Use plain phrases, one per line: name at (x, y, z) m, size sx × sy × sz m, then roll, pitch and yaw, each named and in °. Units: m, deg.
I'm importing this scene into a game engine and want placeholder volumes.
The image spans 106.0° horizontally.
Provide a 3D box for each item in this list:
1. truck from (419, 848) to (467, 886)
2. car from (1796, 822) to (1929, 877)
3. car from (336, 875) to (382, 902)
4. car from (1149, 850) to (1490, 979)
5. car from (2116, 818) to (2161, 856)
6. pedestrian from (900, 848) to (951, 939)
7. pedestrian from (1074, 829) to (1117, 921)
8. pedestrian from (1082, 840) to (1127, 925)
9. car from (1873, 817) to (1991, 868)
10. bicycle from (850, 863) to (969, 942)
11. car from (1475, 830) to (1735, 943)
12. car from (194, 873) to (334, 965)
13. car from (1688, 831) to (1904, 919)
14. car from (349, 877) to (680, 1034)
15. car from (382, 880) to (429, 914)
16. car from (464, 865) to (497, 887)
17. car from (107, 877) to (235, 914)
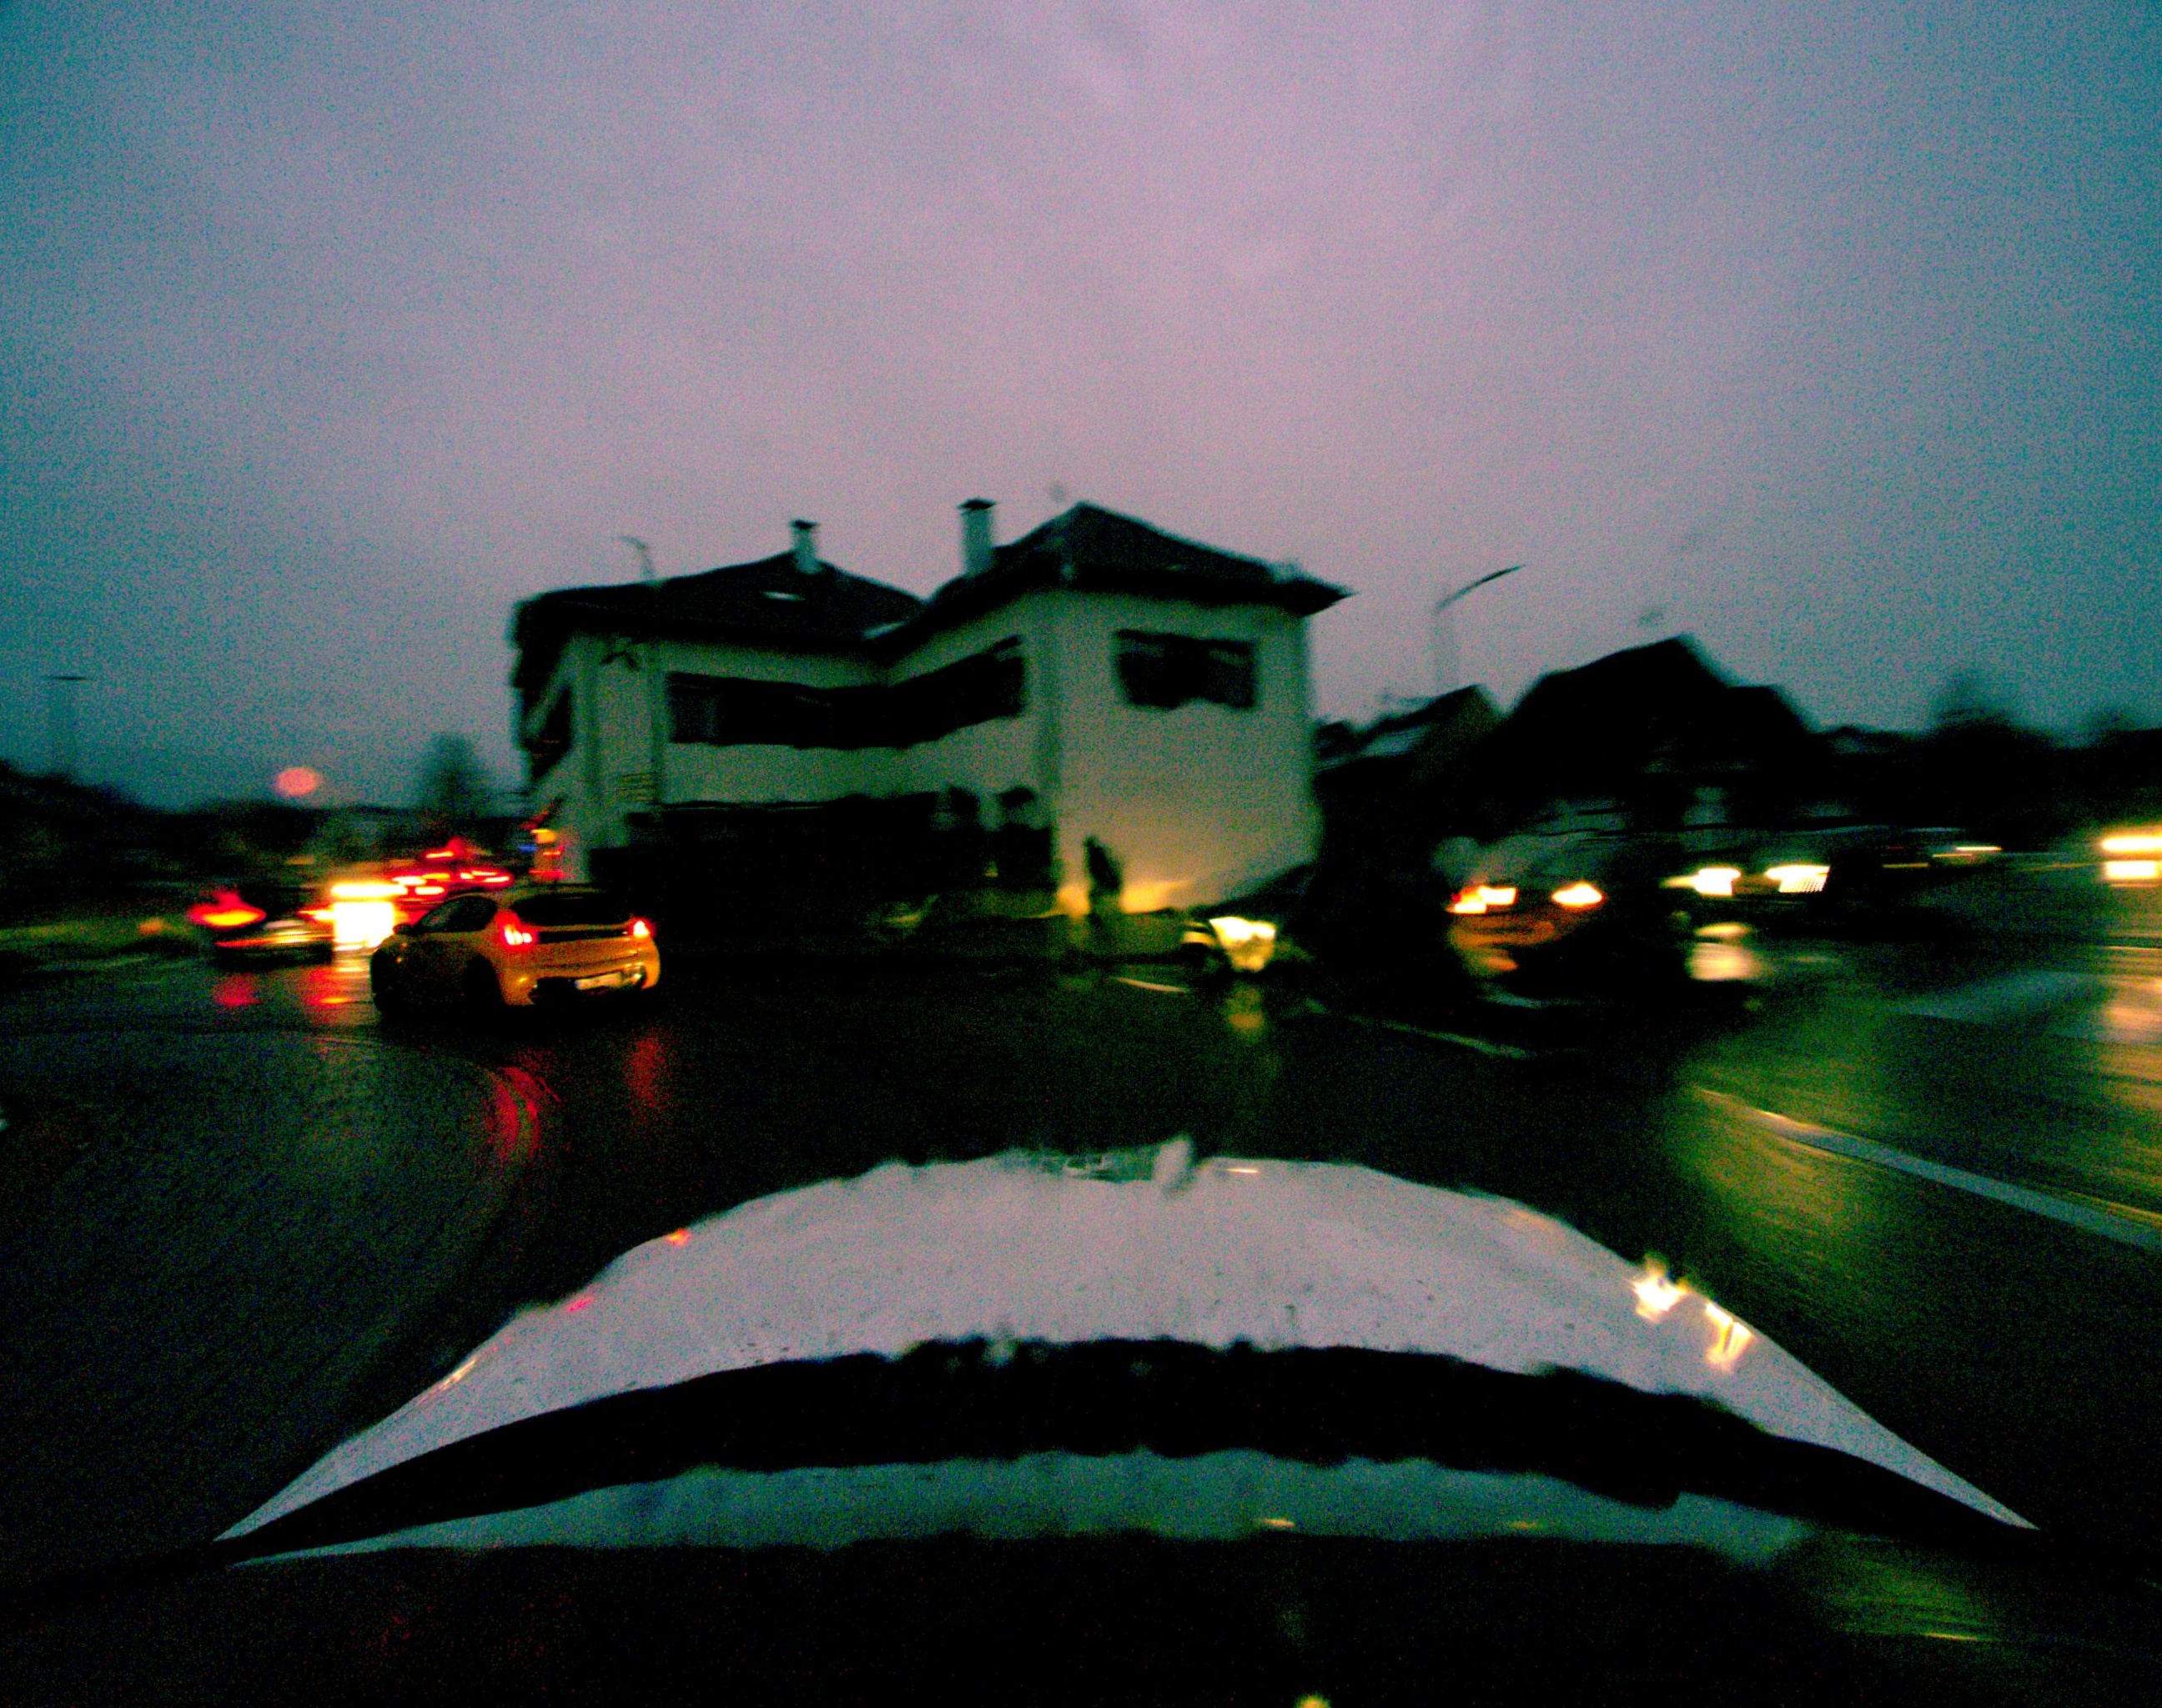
truck at (-54.896, 1.099, 70.156) m, size 2.735 × 3.010 × 5.929 m, roll -2°, pitch 1°, yaw -34°
car at (23.182, -0.168, 24.159) m, size 3.717 × 1.465 × 1.713 m, roll -2°, pitch 1°, yaw -27°
car at (-47.255, 2.233, 53.379) m, size 1.754 × 1.568 × 4.018 m, roll -2°, pitch 0°, yaw -35°
car at (3.259, 0.747, 11.199) m, size 4.238 × 1.384 × 1.837 m, roll -2°, pitch -2°, yaw -22°
car at (44.199, -0.733, 33.364) m, size 4.015 × 1.453 × 1.863 m, roll -2°, pitch 1°, yaw -33°
pedestrian at (-2.783, 0.696, 14.581) m, size 0.686 × 1.564 × 0.611 m, roll -2°, pitch 1°, yaw 6°
pedestrian at (0.291, 0.411, 16.736) m, size 0.716 × 1.831 × 0.635 m, roll -2°, pitch 2°, yaw -13°
pedestrian at (0.465, 0.548, 16.025) m, size 0.716 × 1.621 × 0.580 m, roll -2°, pitch 1°, yaw -13°
car at (27.939, -0.394, 26.730) m, size 3.725 × 1.550 × 1.659 m, roll -2°, pitch 1°, yaw -27°
bicycle at (-3.013, 0.850, 14.404) m, size 1.926 × 1.295 × 0.553 m, roll -2°, pitch 2°, yaw 7°
car at (8.634, 0.458, 13.394) m, size 4.006 × 1.552 × 1.683 m, roll -2°, pitch 0°, yaw -25°
car at (-17.624, 1.295, 17.669) m, size 1.933 × 1.615 × 3.901 m, roll -3°, pitch 1°, yaw -44°
car at (14.450, 0.375, 16.429) m, size 4.265 × 1.508 × 1.683 m, roll -2°, pitch -1°, yaw -25°
car at (-6.698, 1.065, 9.536) m, size 3.960 × 1.422 × 1.726 m, roll -3°, pitch -1°, yaw 32°
car at (-37.545, 2.328, 45.334) m, size 1.735 × 1.632 × 3.956 m, roll -2°, pitch 1°, yaw -36°
car at (-43.230, 1.554, 58.679) m, size 1.703 × 1.467 × 3.679 m, roll -2°, pitch 1°, yaw -34°
car at (-49.483, 2.226, 44.420) m, size 4.344 × 1.640 × 1.825 m, roll -2°, pitch 1°, yaw -39°
